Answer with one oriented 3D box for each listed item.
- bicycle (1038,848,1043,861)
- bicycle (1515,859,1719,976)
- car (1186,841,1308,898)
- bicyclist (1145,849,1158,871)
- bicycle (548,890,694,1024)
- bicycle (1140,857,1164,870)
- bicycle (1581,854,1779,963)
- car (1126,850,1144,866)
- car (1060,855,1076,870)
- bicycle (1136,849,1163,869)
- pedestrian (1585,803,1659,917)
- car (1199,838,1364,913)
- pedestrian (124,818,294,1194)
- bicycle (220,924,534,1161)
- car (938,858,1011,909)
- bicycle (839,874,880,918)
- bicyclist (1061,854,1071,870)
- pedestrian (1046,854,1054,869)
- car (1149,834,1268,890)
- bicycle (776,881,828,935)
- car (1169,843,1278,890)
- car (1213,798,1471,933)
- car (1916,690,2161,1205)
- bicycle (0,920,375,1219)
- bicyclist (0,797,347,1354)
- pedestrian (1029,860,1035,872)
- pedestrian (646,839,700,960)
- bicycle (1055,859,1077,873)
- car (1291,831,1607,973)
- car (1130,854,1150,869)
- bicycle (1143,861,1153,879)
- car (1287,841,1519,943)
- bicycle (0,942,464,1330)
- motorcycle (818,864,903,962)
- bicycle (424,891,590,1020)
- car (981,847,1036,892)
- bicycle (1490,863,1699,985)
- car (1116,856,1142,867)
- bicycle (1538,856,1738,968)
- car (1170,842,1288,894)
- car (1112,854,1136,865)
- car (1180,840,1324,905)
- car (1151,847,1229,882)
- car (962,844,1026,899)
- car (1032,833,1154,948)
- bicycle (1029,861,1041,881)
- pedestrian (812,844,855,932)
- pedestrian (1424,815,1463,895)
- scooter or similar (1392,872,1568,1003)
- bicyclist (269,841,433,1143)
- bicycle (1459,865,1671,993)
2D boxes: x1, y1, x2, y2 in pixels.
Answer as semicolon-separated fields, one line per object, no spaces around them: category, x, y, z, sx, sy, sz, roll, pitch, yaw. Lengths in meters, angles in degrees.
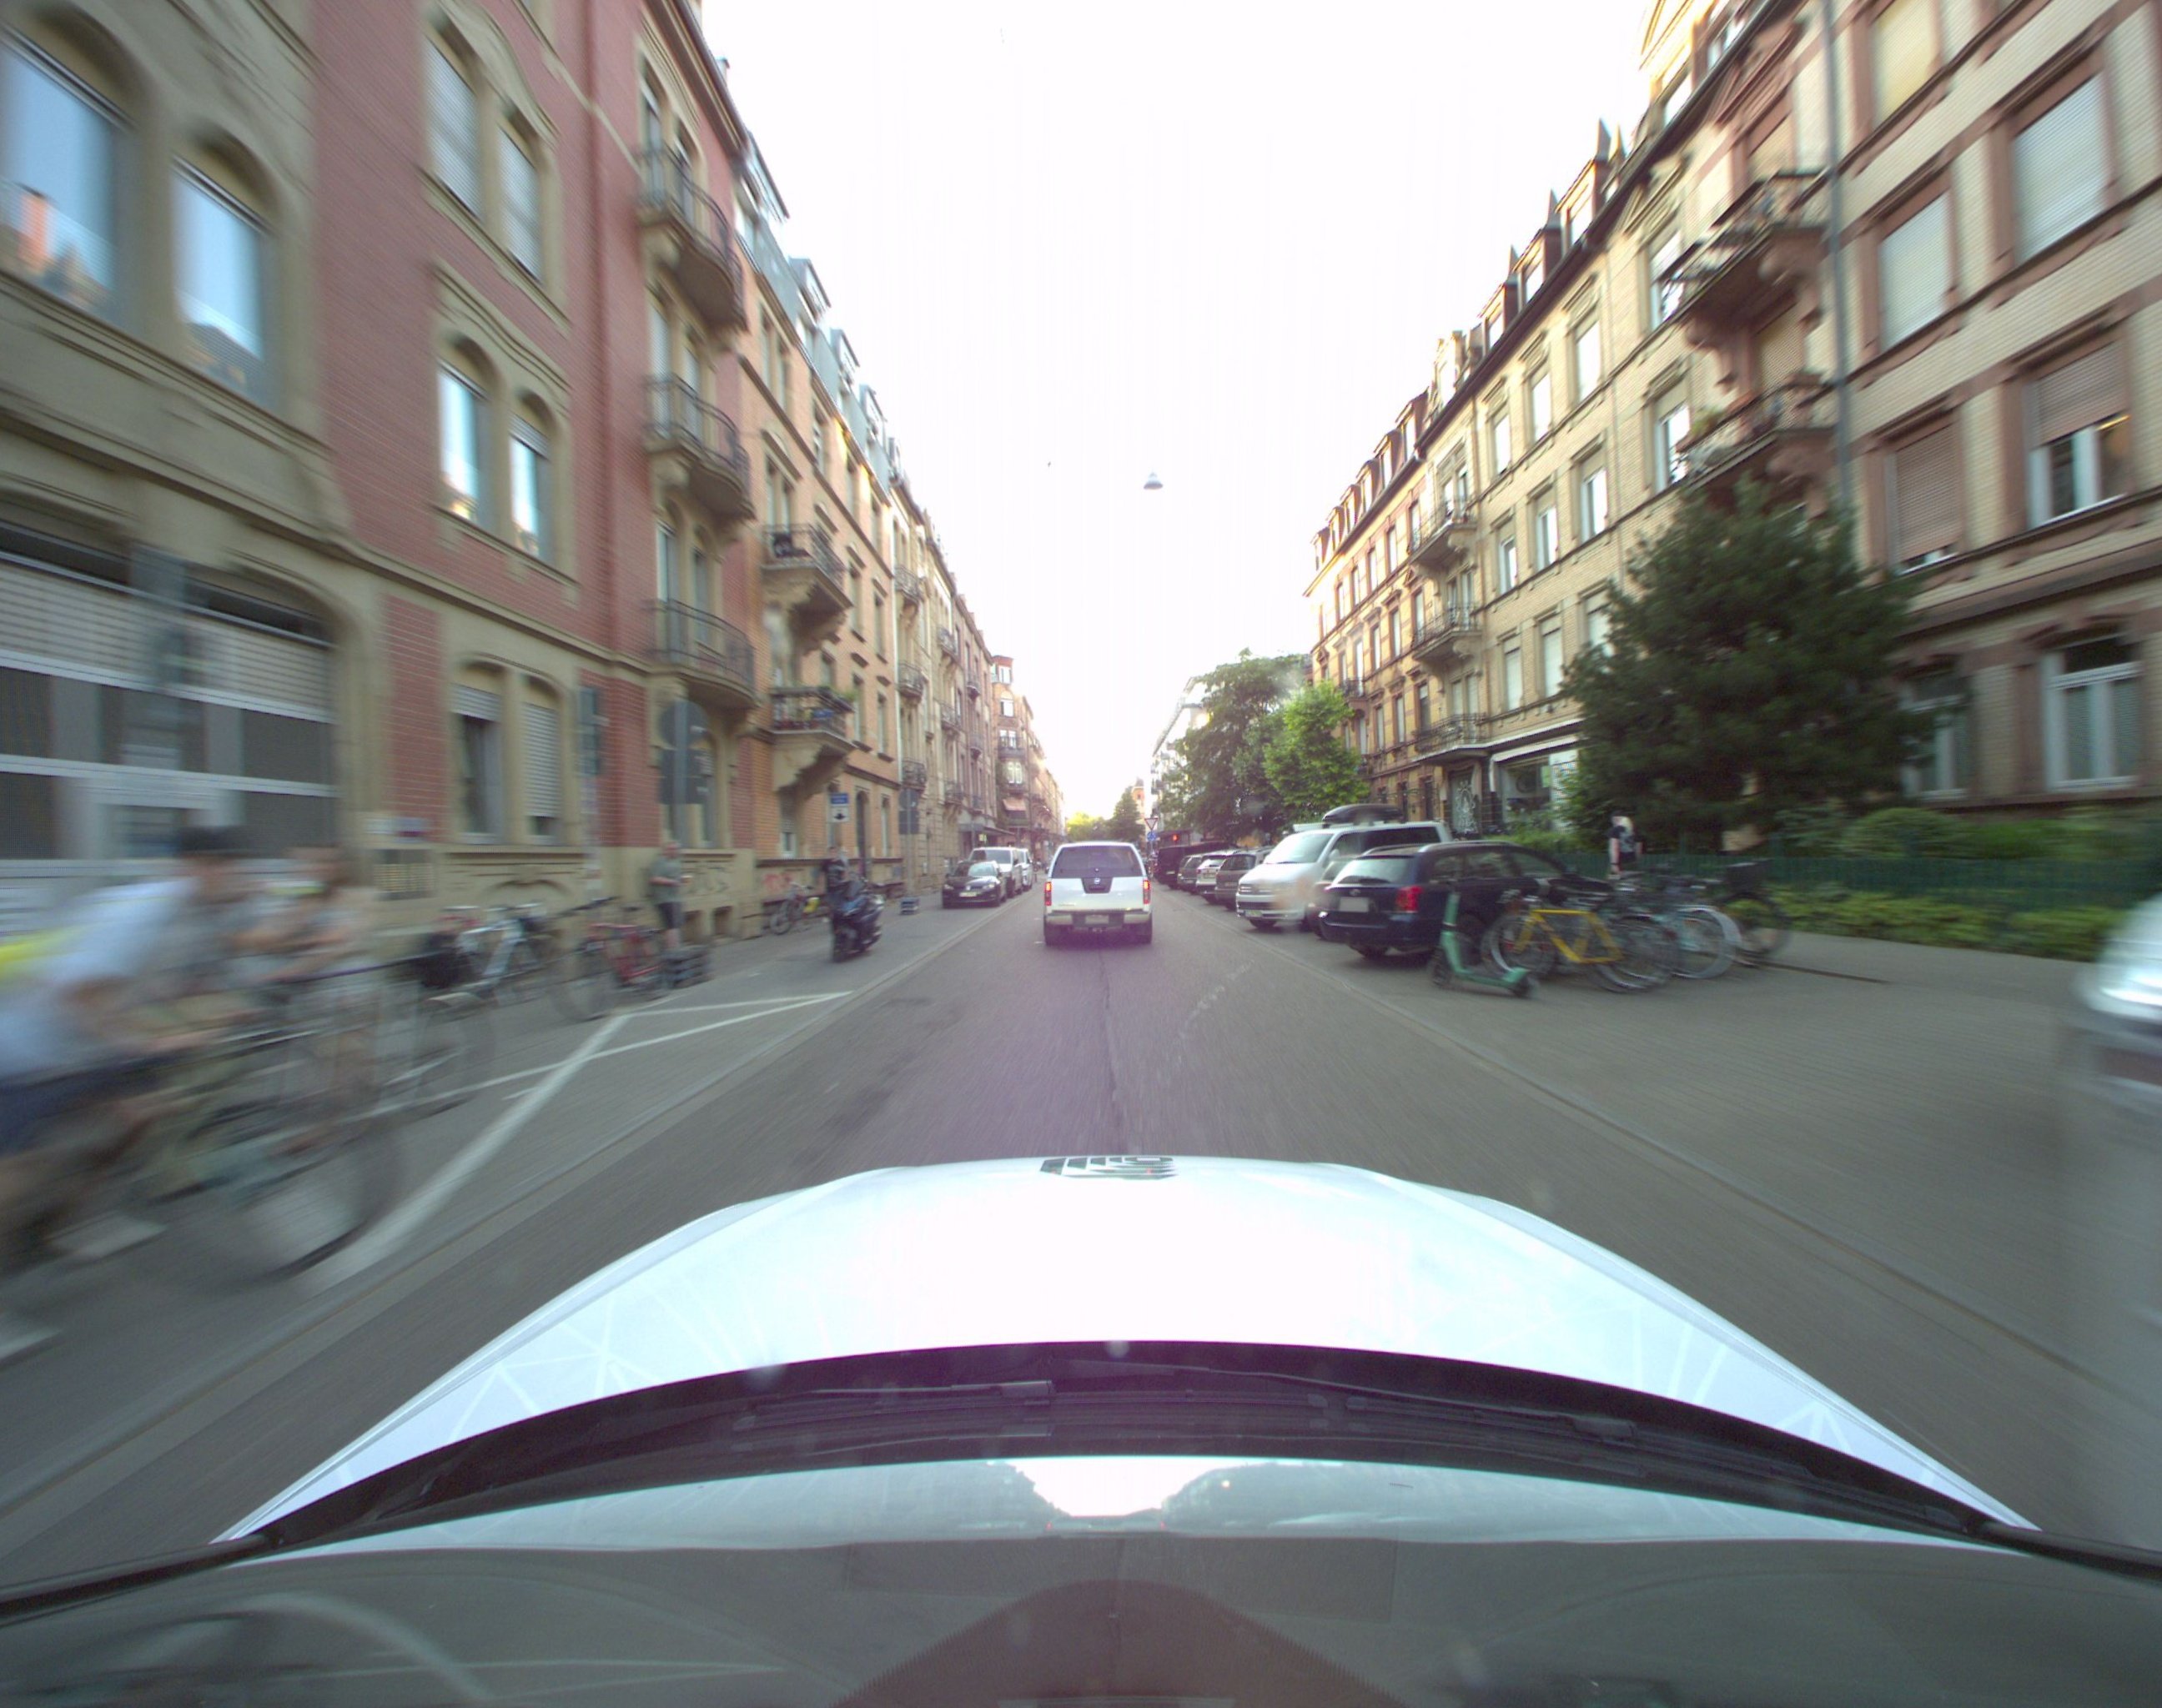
bicycle;-4.423;0.052;89.115;0.423;1.442;1.902;-1;-1;-3
bicycle;5.860;0.658;9.018;0.498;1.136;1.795;-4;1;-33
car;5.816;0.530;28.329;4.129;1.590;1.798;-5;1;-37
bicyclist;6.250;0.547;72.234;0.775;1.944;0.846;-1;-1;29
bicycle;-4.662;0.986;8.391;0.410;1.160;1.838;-1;-1;2
bicycle;6.285;0.838;72.219;1.911;1.171;0.846;-1;-1;29
bicycle;6.950;0.592;9.563;0.498;1.136;1.798;-4;1;-26
car;6.474;0.490;98.484;1.936;1.934;3.999;-1;-1;0
car;-1.488;1.006;96.006;1.829;1.750;3.999;-1;-1;0
bicycle;6.883;0.486;82.223;2.637;2.014;0.638;-1;-1;1
pedestrian;8.753;0.098;13.213;0.679;1.750;0.830;-5;-1;18
car;5.485;0.542;22.199;4.180;1.590;1.867;-5;1;-30
pedestrian;-4.170;0.692;3.913;0.417;1.709;0.350;-1;-1;-5
bicycle;-4.037;1.008;4.839;0.463;1.068;1.522;-1;-1;4
car;-3.369;0.904;26.432;1.832;1.471;4.170;-2;0;-1
bicycle;-5.963;1.116;22.031;0.749;1.101;2.021;-1;-1;-6
bicyclist;-1.337;0.721;72.186;0.870;1.466;0.574;-1;-1;-9
pedestrian;-3.332;0.795;88.299;0.795;1.621;0.944;-1;-1;-2
car;5.820;0.324;36.733;5.464;2.072;1.911;-5;1;-38
bicycle;-5.896;1.114;17.262;0.446;1.030;1.741;-1;-1;2
car;5.858;0.504;33.394;4.123;1.551;1.800;-5;1;-31
car;5.374;0.154;16.663;4.948;2.362;1.983;-3;0;-26
car;6.631;0.173;2.991;5.157;1.955;1.899;-4;1;-1
bicycle;-4.727;0.976;4.066;0.463;1.155;2.004;-1;-1;8
bicyclist;-3.185;0.678;2.832;0.790;1.704;0.525;0;-1;-21
pedestrian;-5.072;1.255;83.897;0.647;1.191;0.539;-1;-1;-3
pedestrian;-6.231;0.680;12.466;0.461;1.789;0.642;-1;-1;4
bicycle;-1.308;1.039;72.182;1.927;1.171;0.595;-1;-1;-7
car;5.021;0.545;11.106;3.875;1.516;1.832;-3;0;-26
car;6.477;0.830;89.698;1.829;1.542;3.999;-1;-1;0
bicycle;4.014;0.947;48.731;0.363;1.063;1.550;-1;-1;-3
car;5.619;0.593;14.104;3.882;1.408;1.741;-3;-1;-32
bicycle;-3.406;0.960;2.949;1.784;1.155;0.517;0;-1;-21
motorcycle;-3.423;0.870;12.832;0.682;1.405;2.016;-1;-1;3
bicycle;-6.036;1.010;8.696;0.410;1.160;1.838;-1;-1;2
car;-3.342;0.689;38.380;2.103;1.921;5.024;-2;0;-1
bicycle;5.391;0.691;8.677;0.498;1.136;1.795;-4;1;-33
car;7.650;1.207;129.500;3.974;1.750;1.840;-1;-1;-1
bicycle;6.308;0.623;9.333;0.498;1.136;1.795;-4;1;-33
car;5.612;0.513;30.714;4.123;1.551;1.800;-5;1;-31
car;7.429;0.959;141.600;3.974;1.750;1.840;-1;-1;-1
car;5.297;0.550;25.120;4.122;1.590;1.801;-5;1;-30
car;6.077;0.551;45.337;4.063;1.628;1.676;-4;1;-31
car;-3.362;0.652;32.248;1.830;1.921;4.847;-2;0;2
car;0.414;0.613;15.511;1.929;1.810;5.007;-1;-1;5
bicycle;-2.713;1.001;48.603;0.469;1.142;1.787;-1;-1;4
pedestrian;-5.253;0.702;17.337;0.680;1.810;0.960;-1;-1;-5
pedestrian;9.268;0.025;20.844;0.622;2.014;0.654;-1;-1;-6
scooter or similar;3.974;0.778;8.226;0.657;1.150;1.473;-4;0;-23
bicyclist;-4.054;0.731;4.553;0.463;1.590;0.488;-1;-1;4
bicycle;4.866;0.703;8.320;0.498;1.136;1.796;-4;1;-31
